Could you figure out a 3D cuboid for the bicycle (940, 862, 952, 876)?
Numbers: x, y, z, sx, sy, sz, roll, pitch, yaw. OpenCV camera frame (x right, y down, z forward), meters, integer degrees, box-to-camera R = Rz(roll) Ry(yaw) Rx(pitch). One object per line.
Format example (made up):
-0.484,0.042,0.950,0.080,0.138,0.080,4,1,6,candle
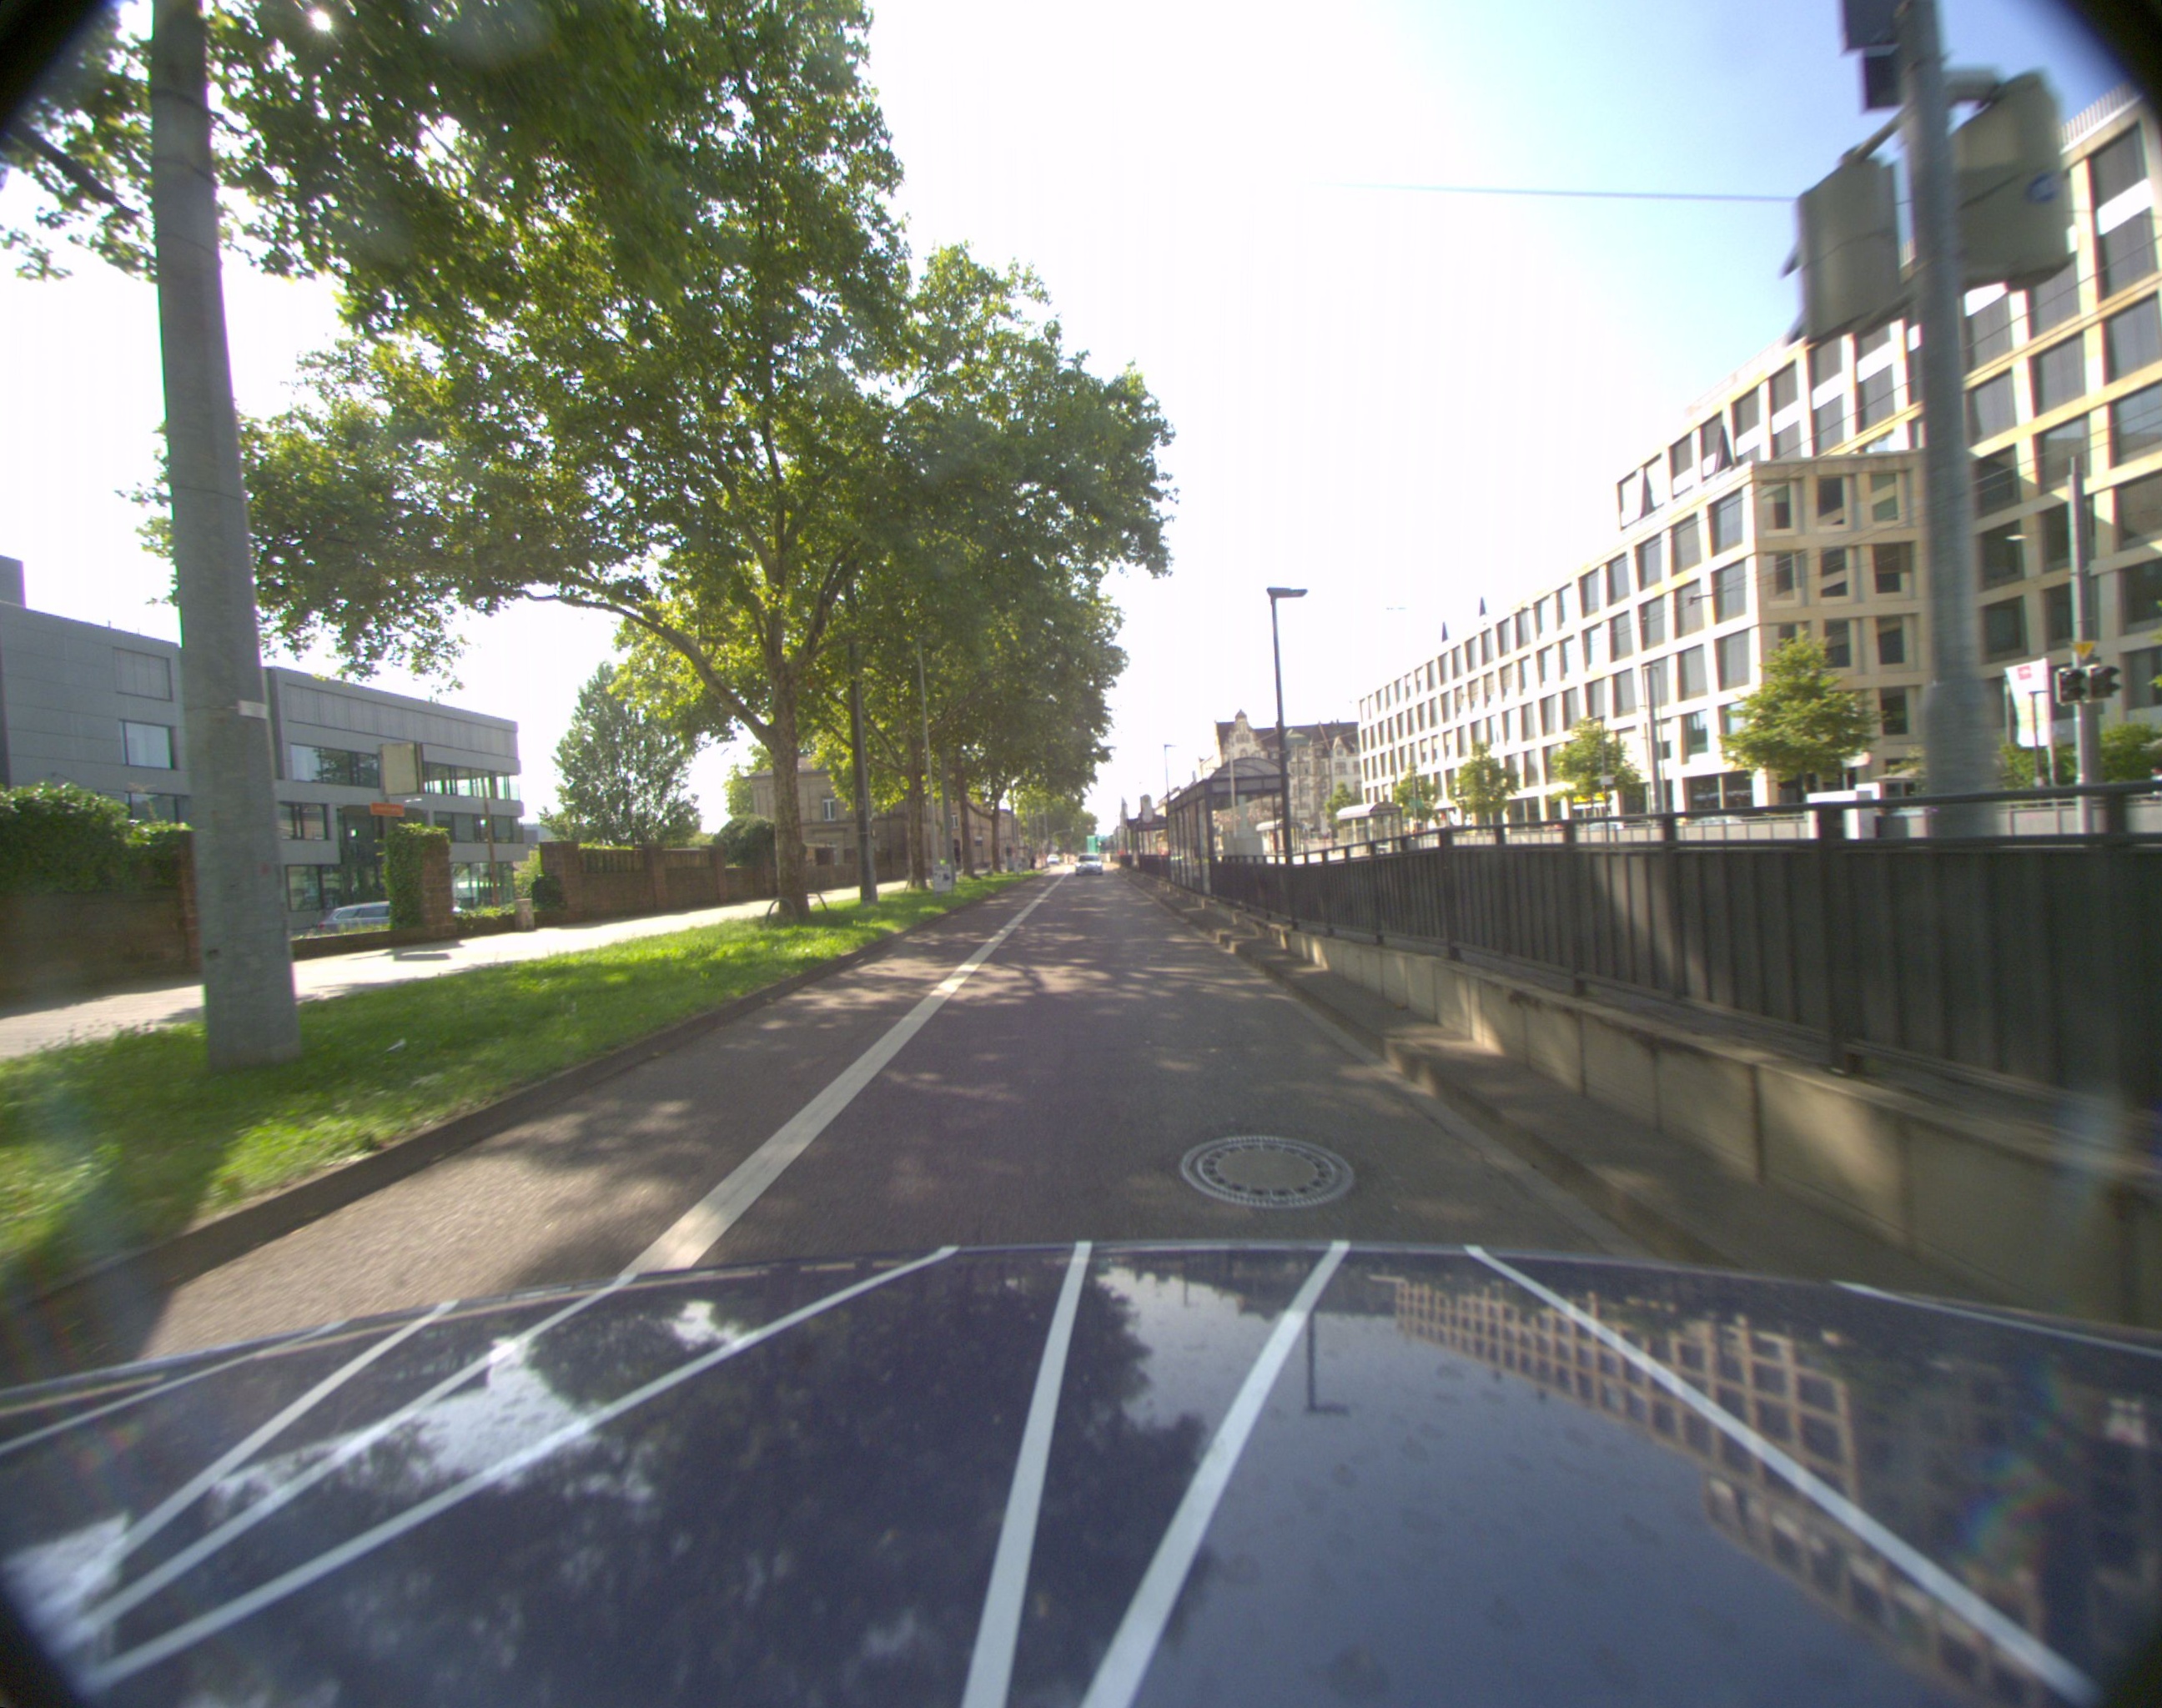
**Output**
-10.432,1.123,58.888,0.549,1.001,1.713,-4,1,1,bicycle

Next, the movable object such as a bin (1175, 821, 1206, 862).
13.019,-1.443,90.616,2.994,4.527,4.212,-4,0,3,movable object such as a bin

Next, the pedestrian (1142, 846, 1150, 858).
8.412,-0.246,98.102,0.741,1.470,0.704,-4,0,23,pedestrian

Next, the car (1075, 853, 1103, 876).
0.553,0.676,52.451,1.844,1.451,4.000,-1,0,1,car

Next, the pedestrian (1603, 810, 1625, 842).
33.930,-1.787,48.354,0.769,2.002,0.822,-4,1,4,pedestrian

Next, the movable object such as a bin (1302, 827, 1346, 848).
36.183,-2.469,113.287,5.515,2.774,2.490,-4,2,1,movable object such as a bin

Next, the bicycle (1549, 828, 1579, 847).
23.160,-0.781,36.454,0.389,0.874,1.576,-4,0,1,bicycle

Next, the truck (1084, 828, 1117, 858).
2.679,-1.452,105.978,2.817,3.766,9.009,-3,0,-9,truck

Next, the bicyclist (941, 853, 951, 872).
-10.462,0.684,58.890,0.549,1.445,0.842,-3,1,1,bicyclist

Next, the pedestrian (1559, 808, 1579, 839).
32.341,-2.004,50.379,0.768,2.002,0.822,-4,1,4,pedestrian

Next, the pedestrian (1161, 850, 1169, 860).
10.071,0.143,91.391,0.701,1.148,0.589,-4,0,40,pedestrian

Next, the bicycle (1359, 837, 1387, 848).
30.672,-1.223,79.823,2.436,0.962,1.020,-4,0,-1,bicycle

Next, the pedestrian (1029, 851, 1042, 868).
-4.475,0.560,74.469,0.885,1.616,0.821,-4,0,-35,pedestrian

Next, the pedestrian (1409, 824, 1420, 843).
34.785,-2.118,79.291,0.854,2.002,0.690,-1,2,0,pedestrian

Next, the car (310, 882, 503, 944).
-20.817,1.793,23.610,3.998,1.410,1.999,-5,2,-2,car

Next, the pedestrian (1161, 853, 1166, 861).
13.172,0.492,120.742,0.678,1.239,0.547,-4,0,-1,pedestrian

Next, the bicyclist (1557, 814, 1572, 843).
23.130,-1.225,36.363,0.387,1.353,0.447,-4,1,1,bicyclist

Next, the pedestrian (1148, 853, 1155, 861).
8.397,0.362,90.469,0.702,0.949,0.882,-4,0,1,pedestrian
